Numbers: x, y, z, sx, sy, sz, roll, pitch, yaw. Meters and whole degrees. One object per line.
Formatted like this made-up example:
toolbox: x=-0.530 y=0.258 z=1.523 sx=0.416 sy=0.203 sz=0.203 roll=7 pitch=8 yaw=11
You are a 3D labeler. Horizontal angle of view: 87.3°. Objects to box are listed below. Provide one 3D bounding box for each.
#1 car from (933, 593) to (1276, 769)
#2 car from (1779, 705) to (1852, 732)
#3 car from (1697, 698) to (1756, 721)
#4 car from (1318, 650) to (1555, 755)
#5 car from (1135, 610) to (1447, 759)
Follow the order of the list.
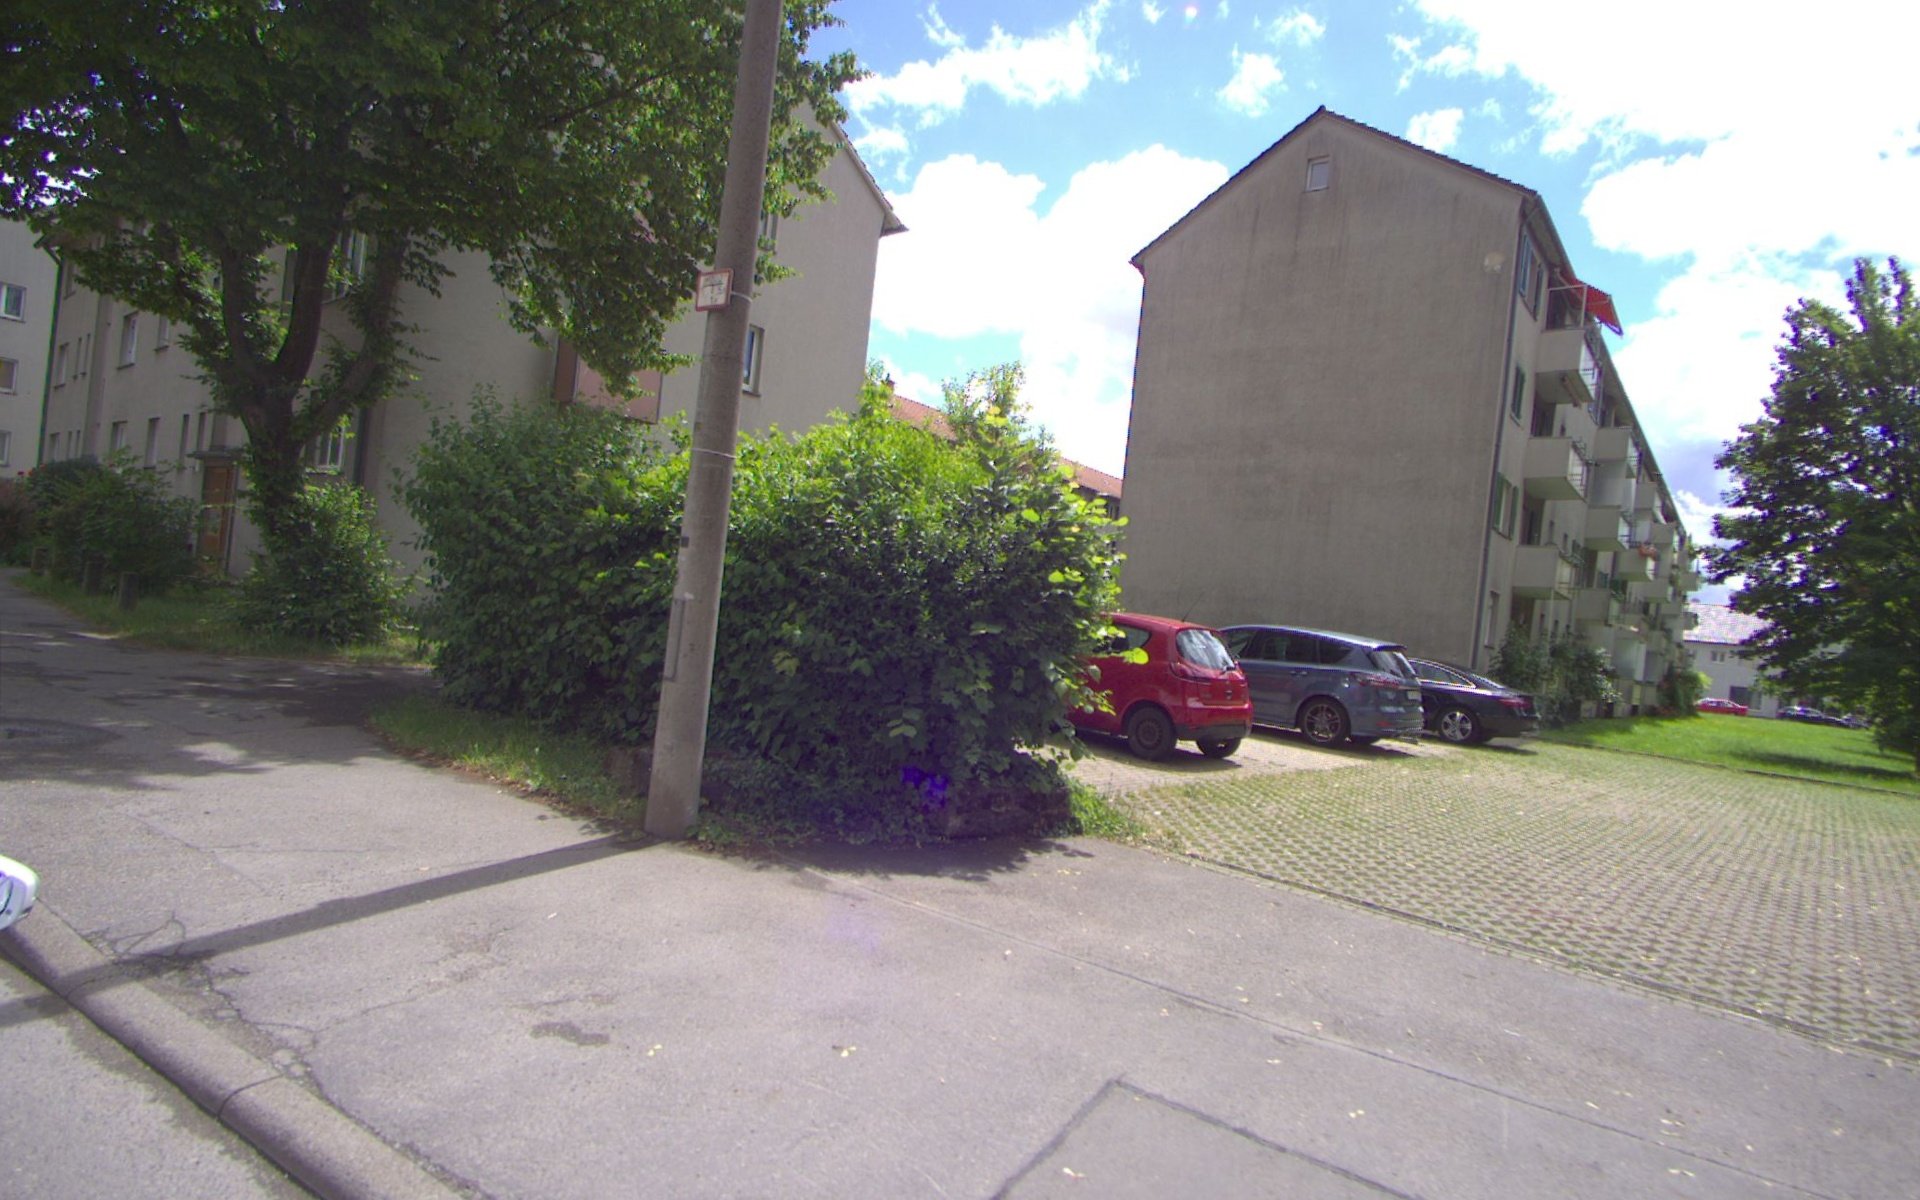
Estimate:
car: x=1.616 y=0.884 z=12.005 sx=3.643 sy=1.499 sz=1.660 roll=7 pitch=0 yaw=44
car: x=63.414 y=8.766 z=74.618 sx=3.955 sy=1.504 sz=1.570 roll=3 pitch=-2 yaw=45
car: x=59.491 y=8.484 z=78.066 sx=3.456 sy=1.419 sz=1.545 roll=3 pitch=-2 yaw=43
car: x=8.673 y=1.822 z=18.425 sx=3.505 sy=1.331 sz=1.669 roll=7 pitch=0 yaw=41
car: x=4.979 y=1.226 z=15.457 sx=4.049 sy=1.627 sz=1.795 roll=7 pitch=0 yaw=41
